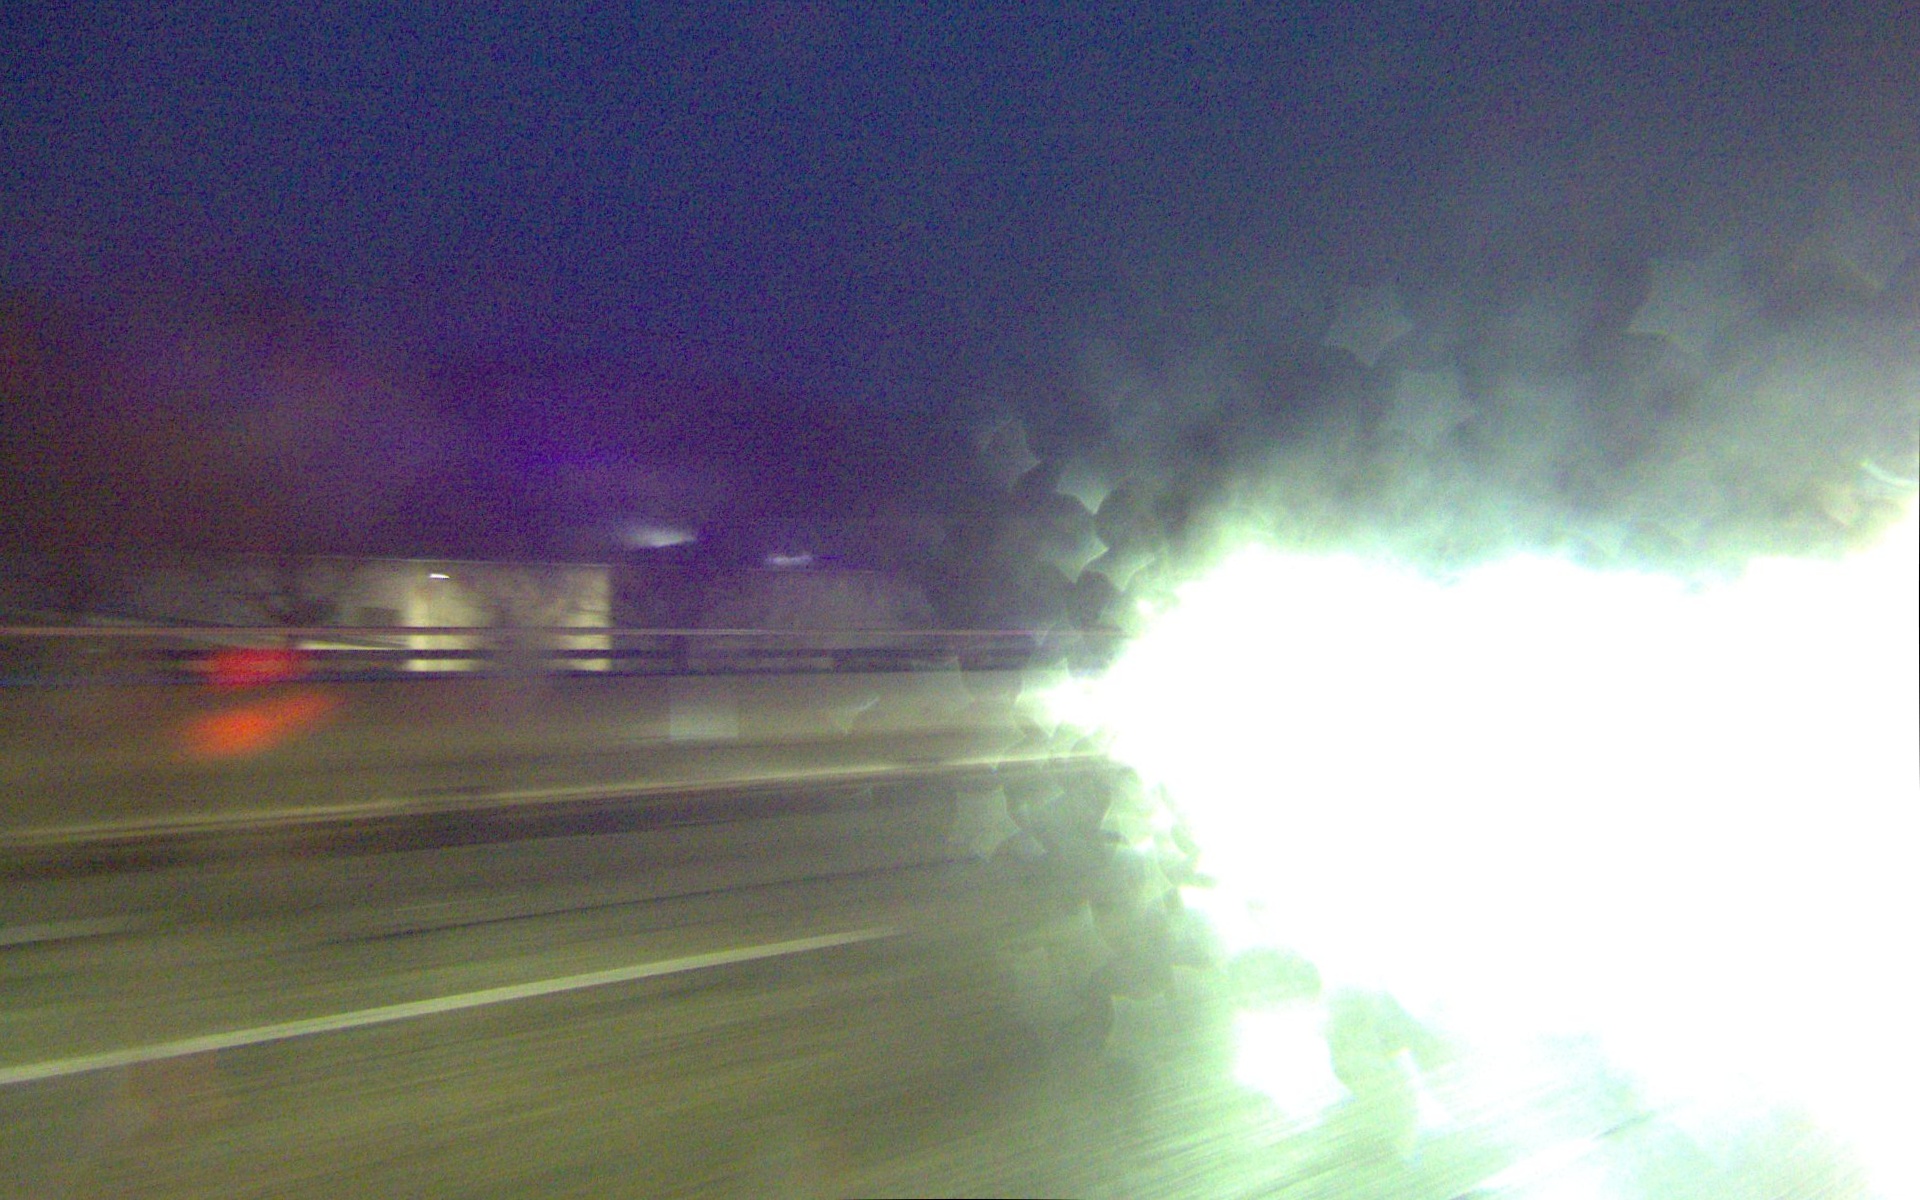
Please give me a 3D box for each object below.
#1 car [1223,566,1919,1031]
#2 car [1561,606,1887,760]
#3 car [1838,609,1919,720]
[{"bbox_3d":[3.618,0.729,5.586,4.373,1.651,1.792,1,0,-36],"label":"car"},{"bbox_3d":[9.067,0.885,11.883,3.781,1.528,1.712,1,0,-30],"label":"car"},{"bbox_3d":[15.828,0.988,15.817,4.261,1.609,1.712,1,0,-30],"label":"car"}]
